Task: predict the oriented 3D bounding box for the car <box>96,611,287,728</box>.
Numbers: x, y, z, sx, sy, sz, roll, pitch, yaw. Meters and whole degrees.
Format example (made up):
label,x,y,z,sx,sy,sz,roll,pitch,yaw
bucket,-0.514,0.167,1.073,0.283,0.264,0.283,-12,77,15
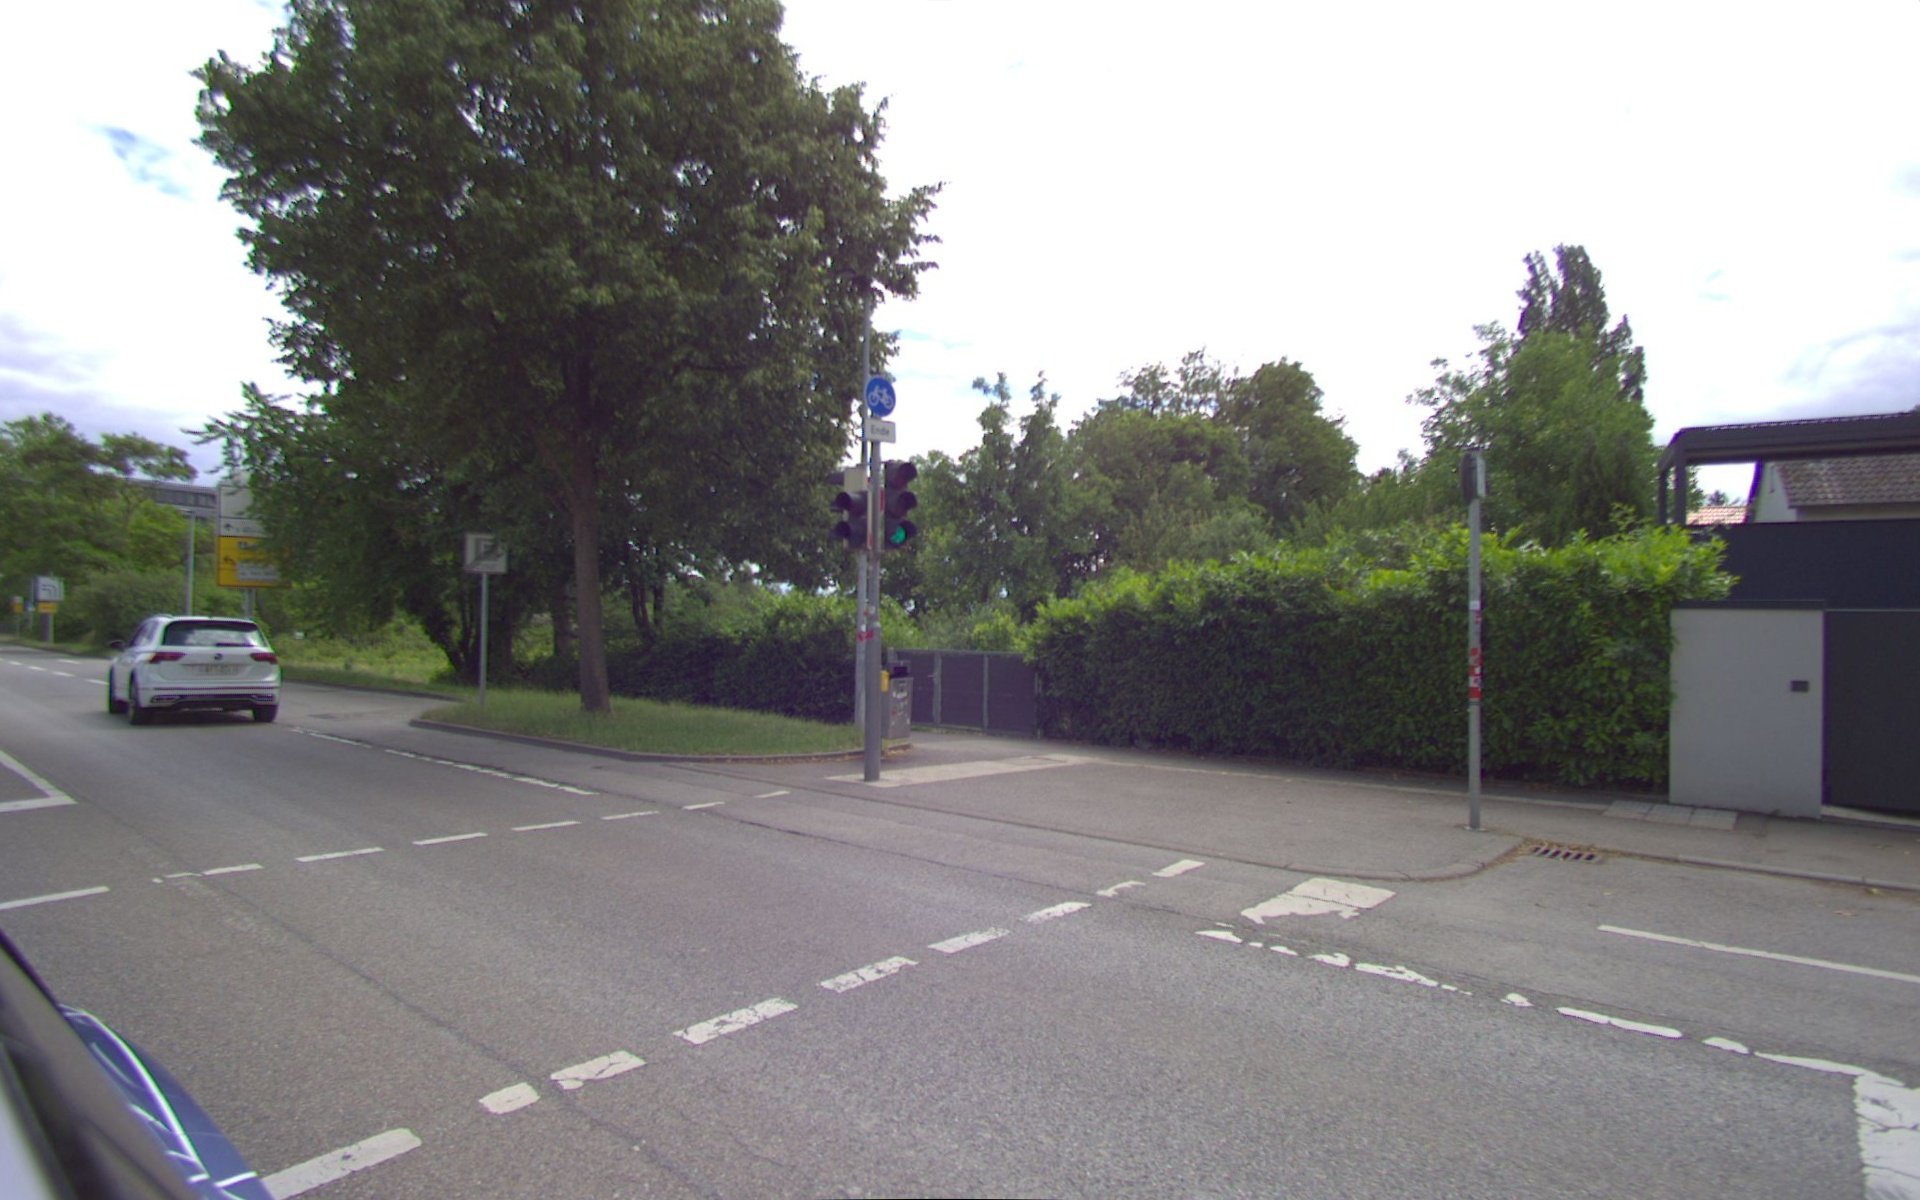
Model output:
label,x,y,z,sx,sy,sz,roll,pitch,yaw
car,-12.574,1.068,16.450,1.853,1.647,4.343,4,-4,-45
